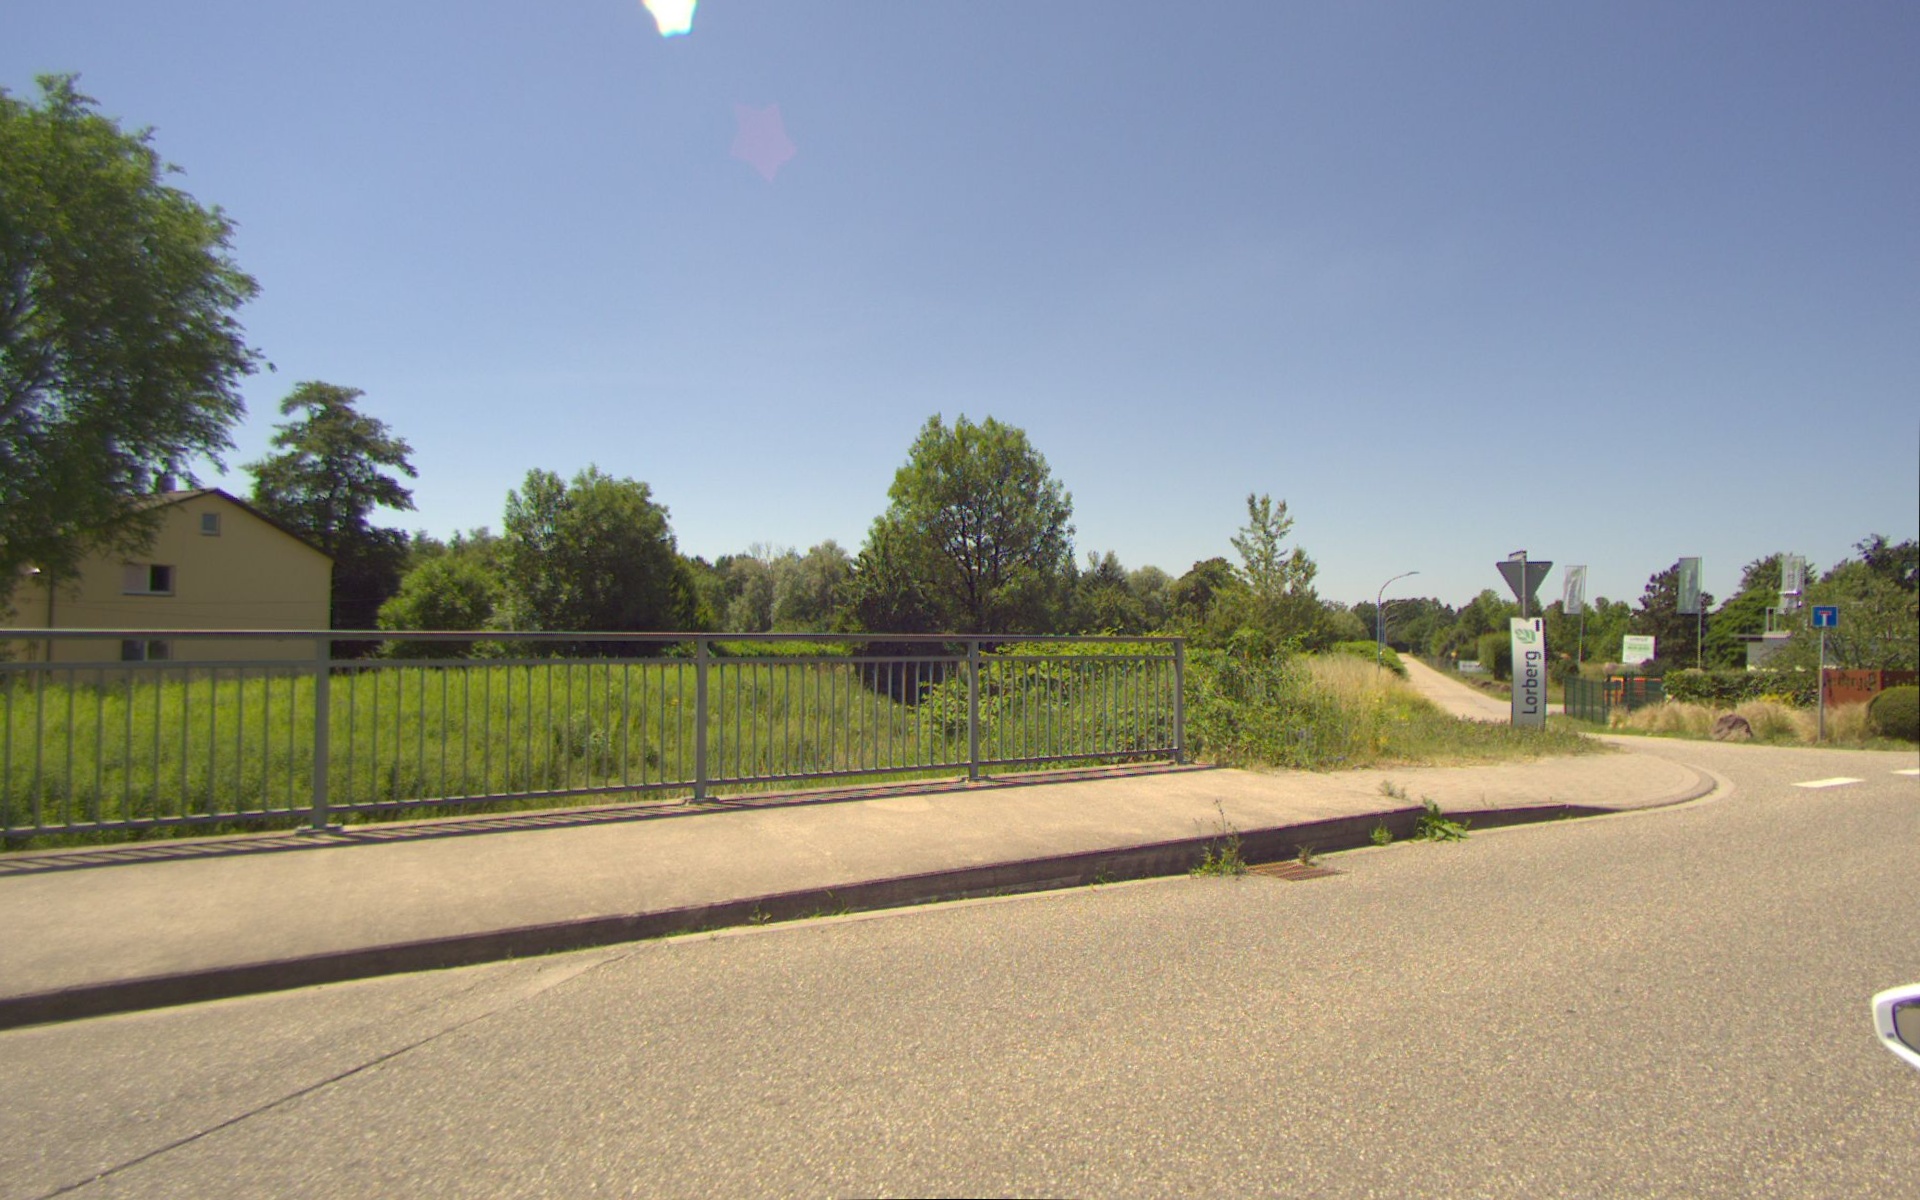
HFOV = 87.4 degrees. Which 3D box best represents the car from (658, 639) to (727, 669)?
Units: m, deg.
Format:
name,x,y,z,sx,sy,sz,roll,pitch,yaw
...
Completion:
name,x,y,z,sx,sy,sz,roll,pitch,yaw
car,-15.032,3.015,56.665,1.960,1.617,4.002,0,-2,17
